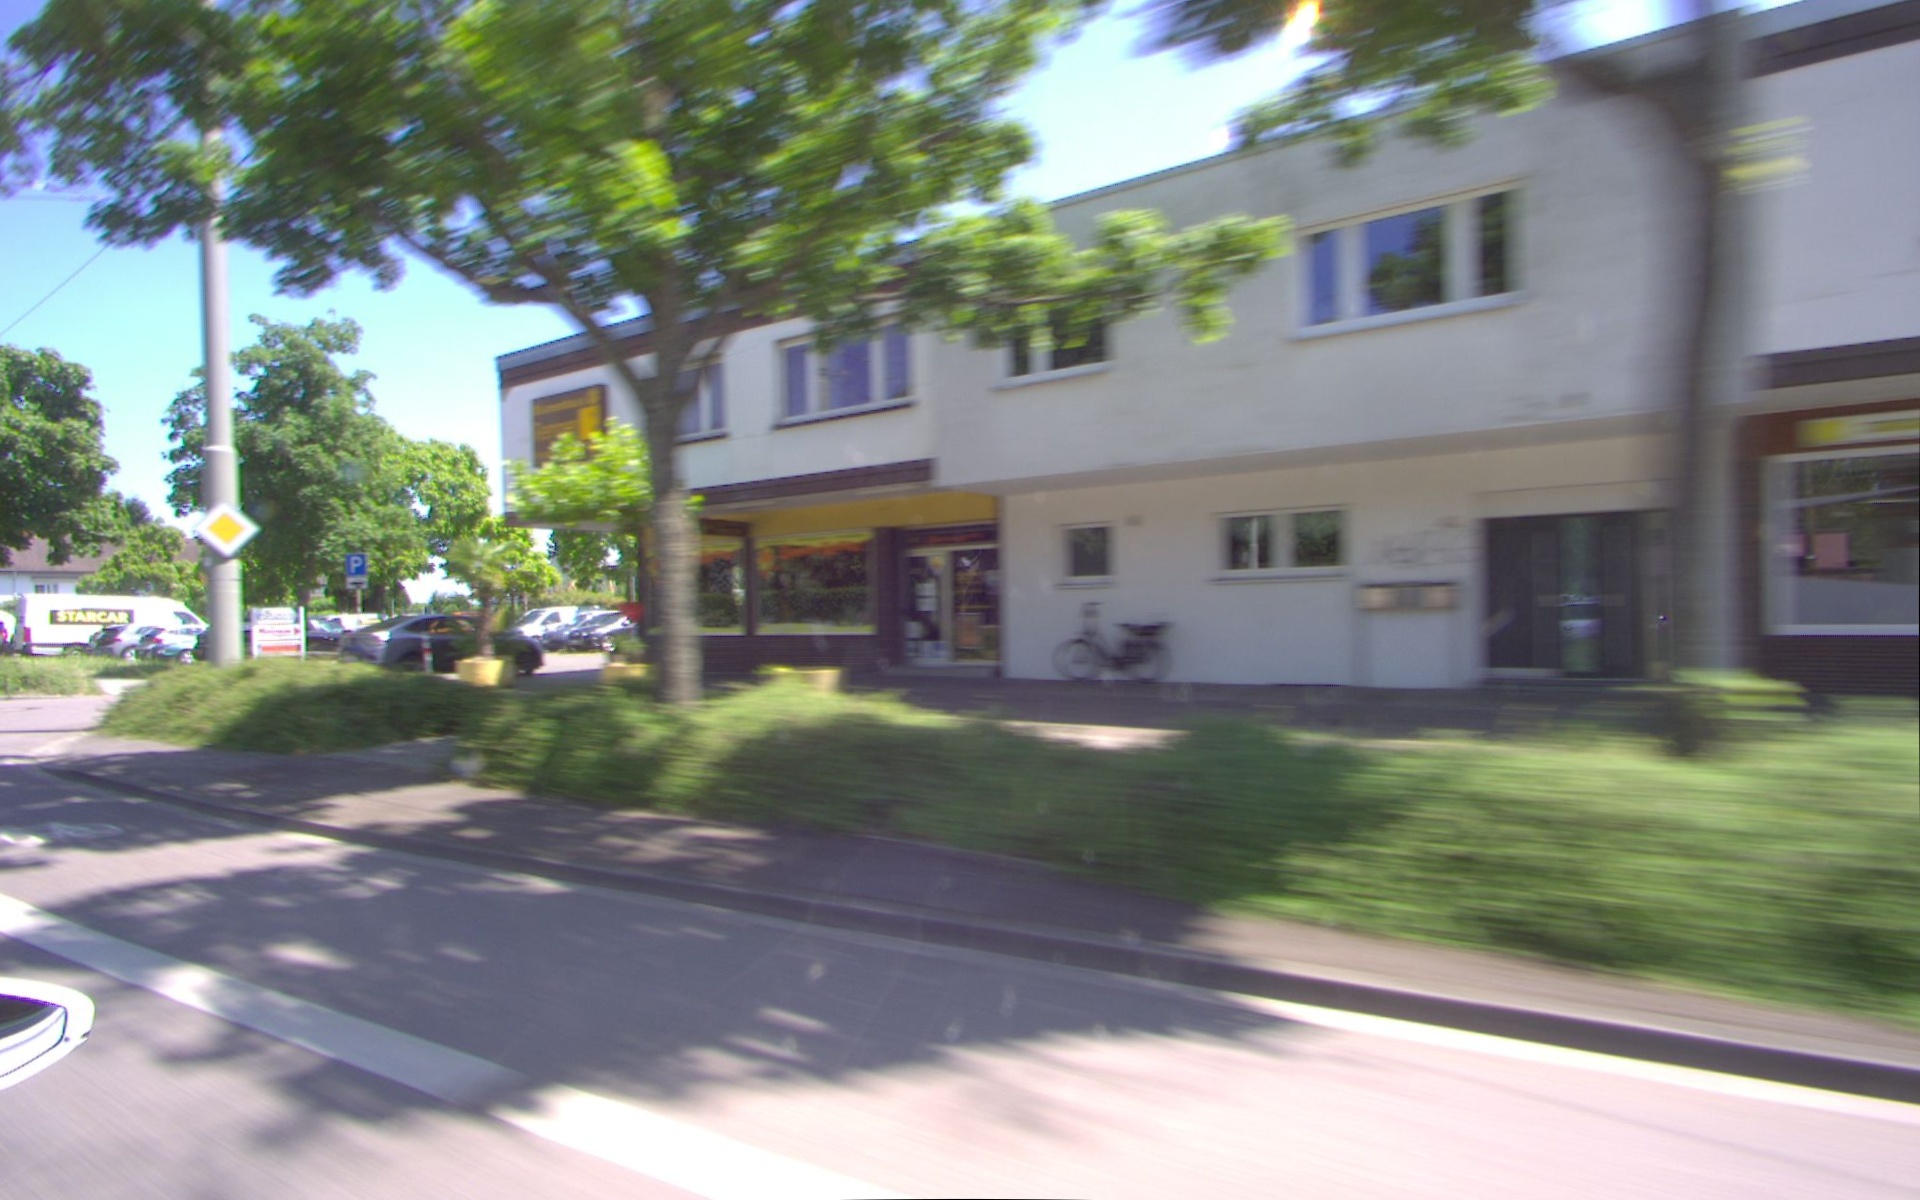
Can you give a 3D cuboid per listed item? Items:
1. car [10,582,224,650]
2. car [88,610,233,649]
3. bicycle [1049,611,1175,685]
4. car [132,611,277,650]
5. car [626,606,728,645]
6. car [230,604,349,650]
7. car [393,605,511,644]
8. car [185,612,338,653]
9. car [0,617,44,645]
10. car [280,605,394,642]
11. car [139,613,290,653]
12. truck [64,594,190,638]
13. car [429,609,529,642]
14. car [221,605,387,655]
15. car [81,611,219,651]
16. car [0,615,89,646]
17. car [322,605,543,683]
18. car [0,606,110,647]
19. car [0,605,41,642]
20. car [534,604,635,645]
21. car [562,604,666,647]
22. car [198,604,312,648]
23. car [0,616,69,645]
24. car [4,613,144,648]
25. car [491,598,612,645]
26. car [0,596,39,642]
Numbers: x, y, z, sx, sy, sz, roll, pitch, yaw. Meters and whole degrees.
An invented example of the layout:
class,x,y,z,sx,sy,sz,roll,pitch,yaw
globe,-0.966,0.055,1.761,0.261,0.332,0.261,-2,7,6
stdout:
class,x,y,z,sx,sy,sz,roll,pitch,yaw
car,-34.329,0.733,41.009,2.234,2.561,6.323,-1,-3,37
car,-29.926,1.142,37.600,1.701,1.397,3.885,0,-3,28
bicycle,2.344,0.725,15.528,1.872,1.082,0.541,-1,0,30
car,-27.605,1.143,36.711,1.703,1.341,3.880,-1,-3,33
car,-11.733,1.028,41.775,1.610,1.463,3.967,-1,1,34
car,-39.846,1.554,59.638,2.066,2.492,5.473,-1,1,34
car,-26.431,1.246,52.294,2.066,1.776,5.138,-1,1,34
car,-23.393,1.106,33.663,1.703,1.297,3.880,-1,-3,33
car,-49.569,1.579,51.055,1.702,1.423,3.884,-1,-3,29
car,-35.457,1.288,57.119,2.066,1.901,5.081,-1,1,34
car,-25.911,1.175,34.925,1.703,1.341,3.880,-1,-3,33
truck,-63.637,1.184,76.659,2.390,3.126,6.928,-1,1,33
car,-24.291,1.260,50.722,1.610,1.456,4.297,-1,1,34
car,-21.164,1.016,32.482,1.655,1.509,4.192,-1,-3,33
car,-31.891,1.250,39.513,1.703,1.490,3.881,-1,-3,31
car,-45.168,1.477,48.447,1.703,1.423,4.271,-1,-3,31
car,-12.039,0.937,23.131,1.916,1.632,4.132,-1,-1,31
car,-42.709,1.269,47.029,1.925,1.806,3.777,0,-3,29
car,-51.786,1.237,52.899,1.925,1.933,4.403,0,-3,29
car,-16.672,1.074,44.588,1.610,1.626,3.967,-1,1,34
car,-14.644,1.040,42.560,1.645,1.622,3.967,-1,1,34
car,-44.462,1.608,63.323,2.066,2.492,5.473,-1,1,34
car,-47.430,1.537,50.137,1.703,1.423,3.881,-1,-3,31
car,-40.445,1.415,45.817,1.925,1.524,4.402,-1,-3,31
car,-18.544,0.917,45.693,1.882,1.926,4.904,-1,1,33
car,-54.189,1.012,54.620,2.066,2.490,5.478,-1,-3,34
